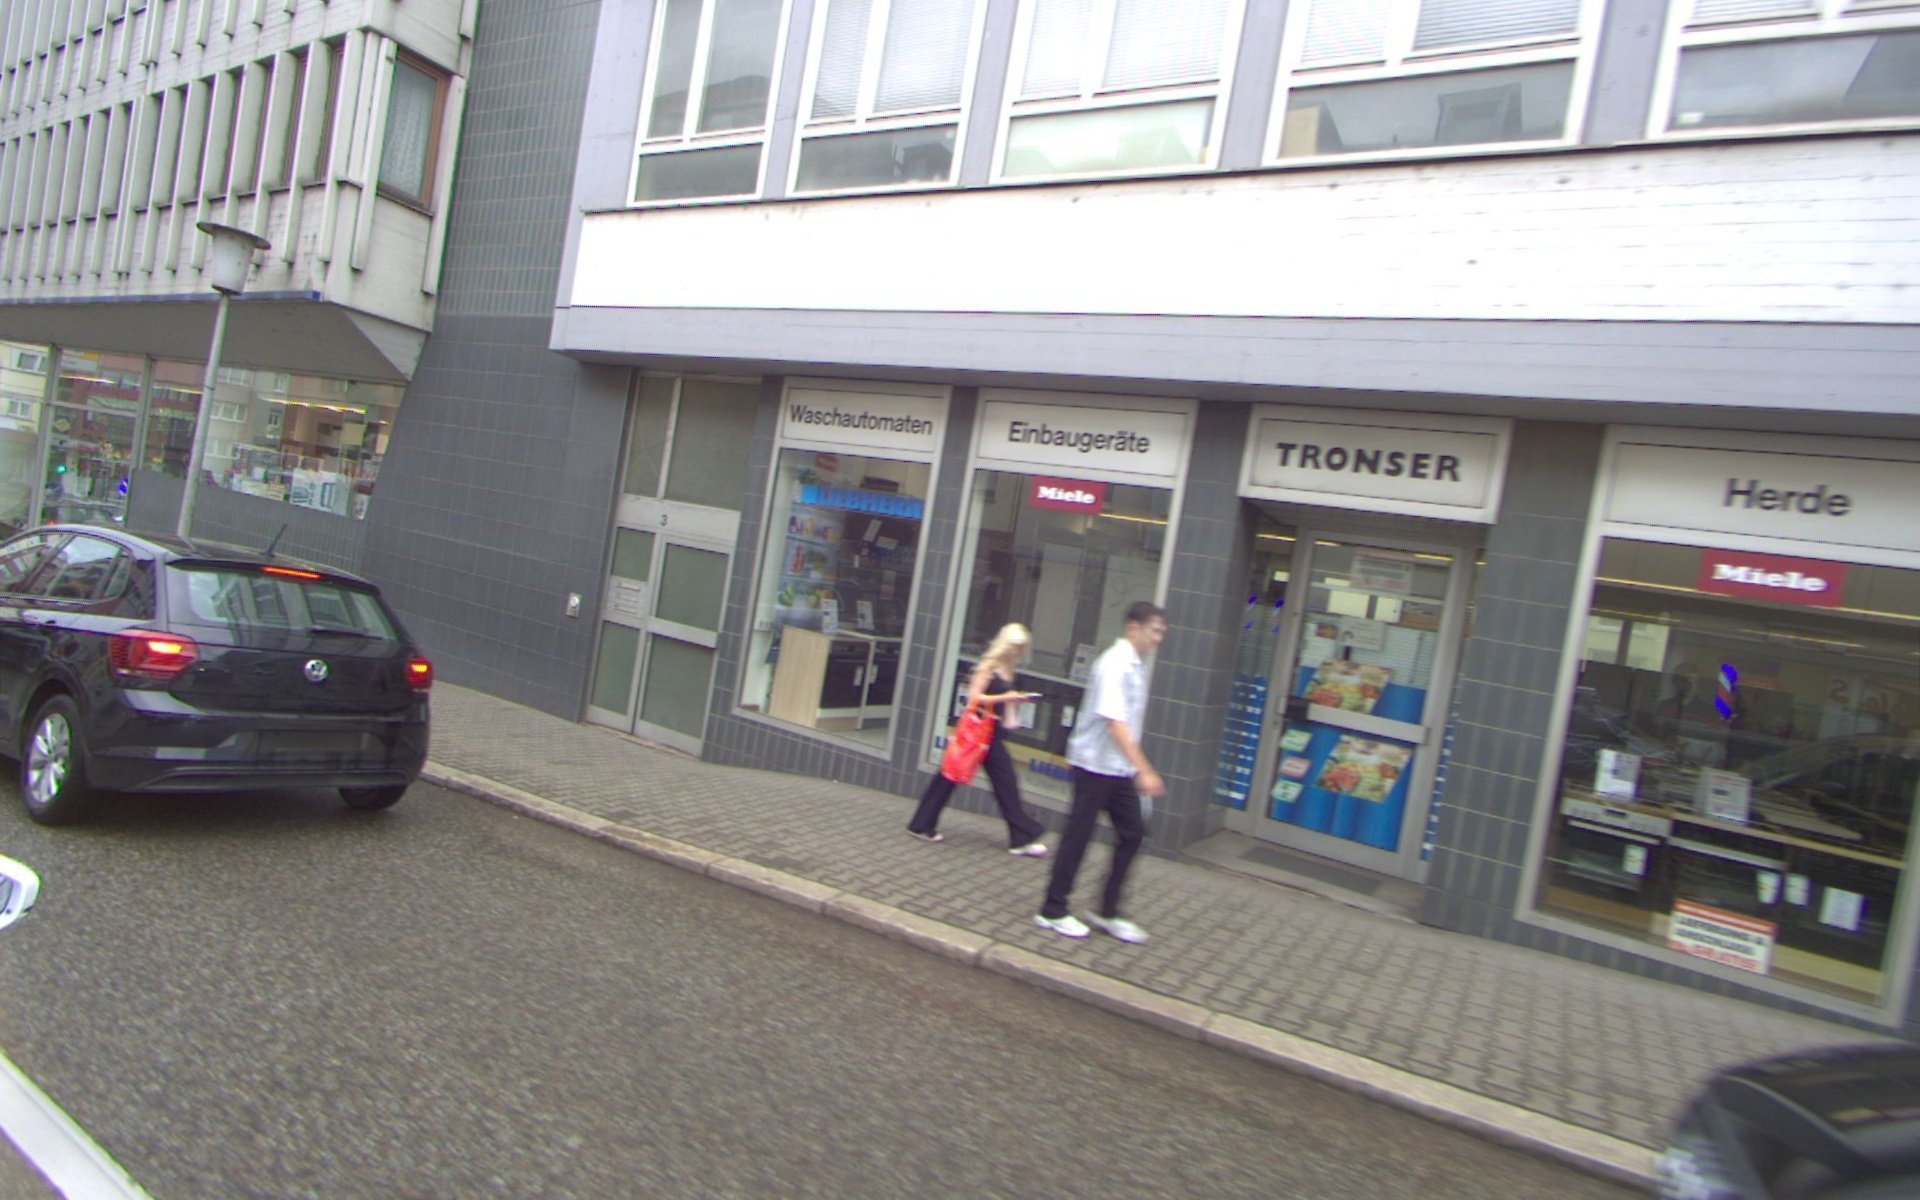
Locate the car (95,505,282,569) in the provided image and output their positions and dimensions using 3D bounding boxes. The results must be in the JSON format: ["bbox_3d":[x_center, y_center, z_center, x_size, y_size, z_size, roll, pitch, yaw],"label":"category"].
[{"bbox_3d":[-27.189,-2.181,35.648,4.781,1.512,1.850,8,-1,-18],"label":"car"}]

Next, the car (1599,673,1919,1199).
[{"bbox_3d":[3.053,1.178,0.828,4.132,1.577,1.828,6,-3,32],"label":"car"}]

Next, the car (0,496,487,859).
[{"bbox_3d":[-4.957,0.281,6.074,3.932,1.493,1.694,7,-4,30],"label":"car"}]

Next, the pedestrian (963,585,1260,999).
[{"bbox_3d":[0.763,0.855,5.006,1.101,1.728,0.784,7,2,28],"label":"pedestrian"}]

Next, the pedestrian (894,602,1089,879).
[{"bbox_3d":[0.213,0.849,6.514,0.875,1.571,0.766,7,2,28],"label":"pedestrian"}]

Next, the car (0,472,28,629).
[{"bbox_3d":[-10.609,-0.589,9.057,4.429,1.713,1.904,7,-4,31],"label":"car"}]
